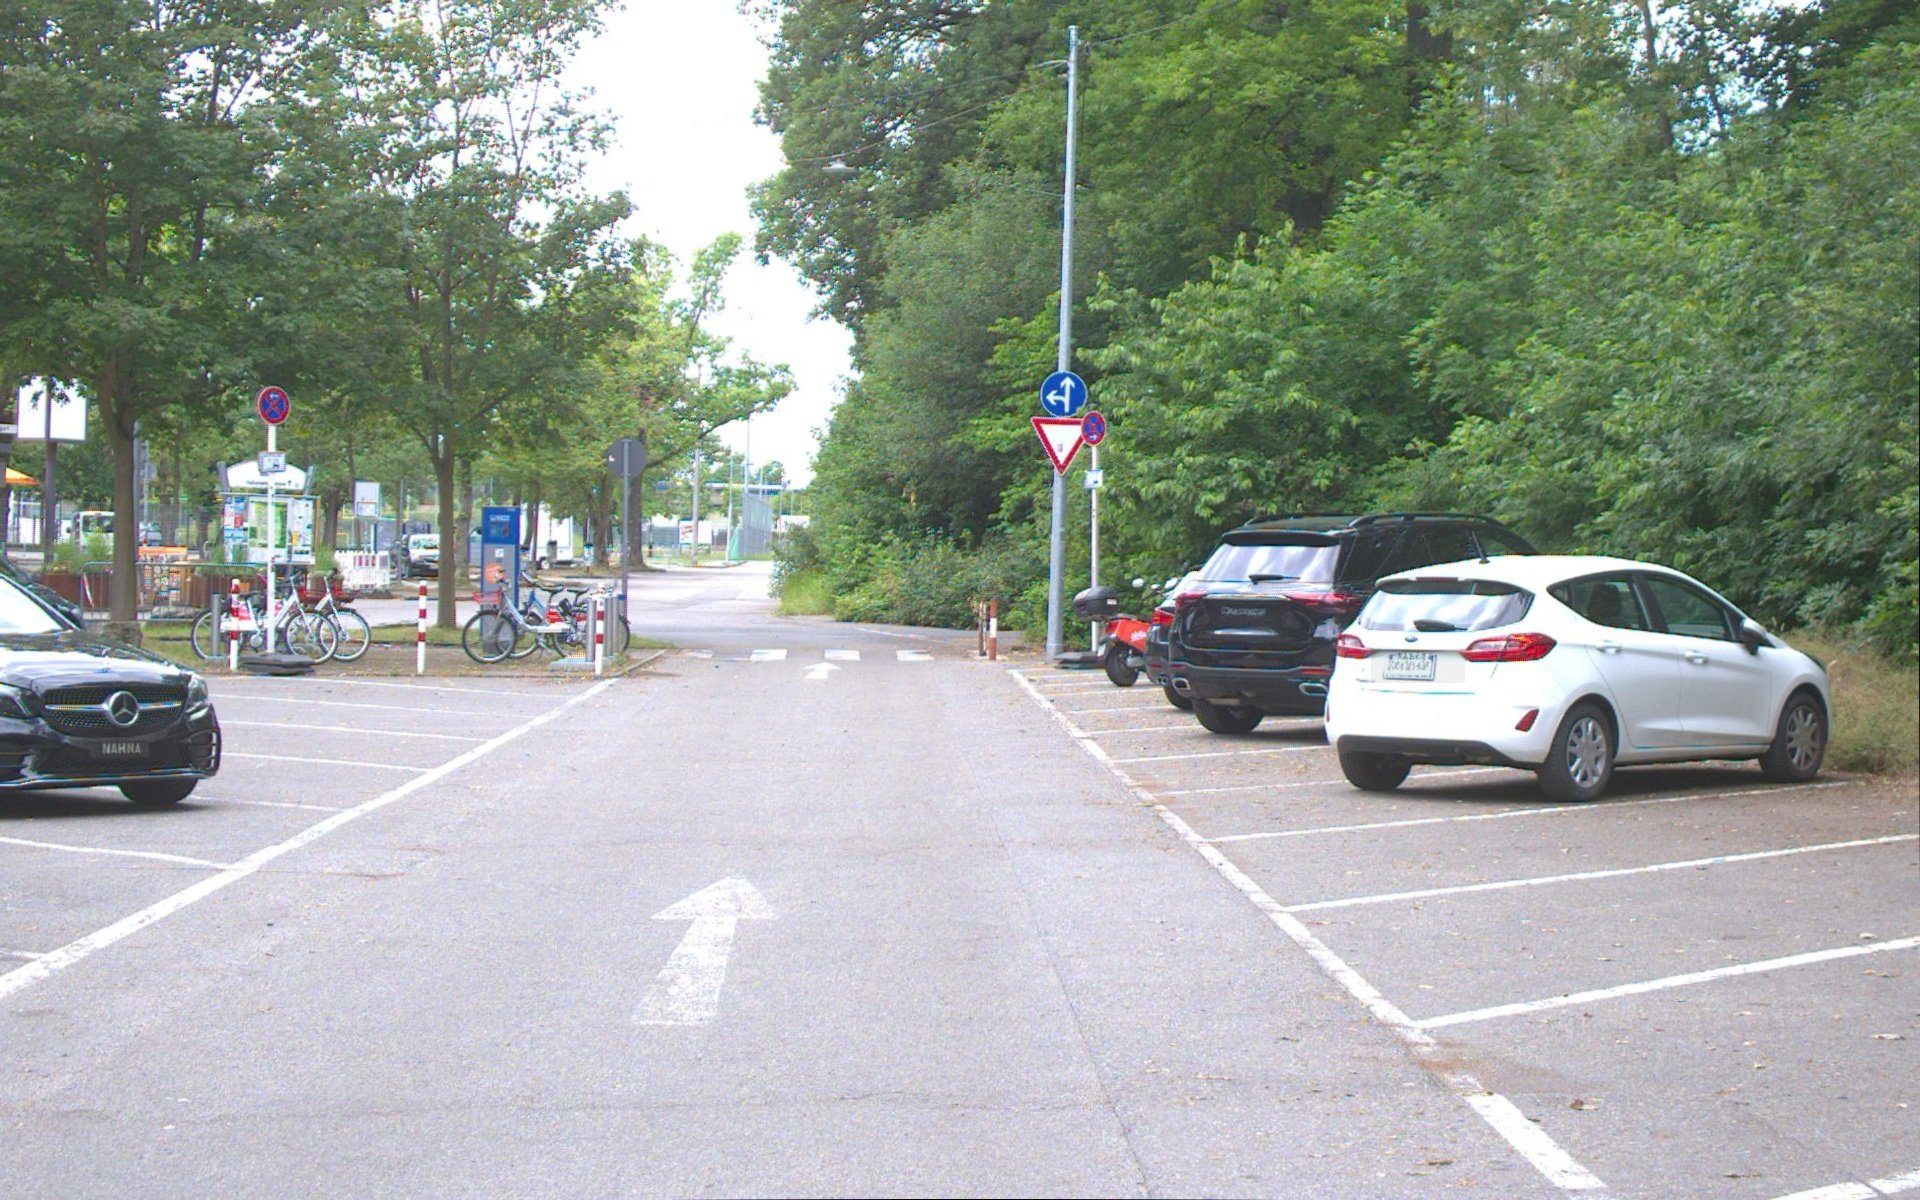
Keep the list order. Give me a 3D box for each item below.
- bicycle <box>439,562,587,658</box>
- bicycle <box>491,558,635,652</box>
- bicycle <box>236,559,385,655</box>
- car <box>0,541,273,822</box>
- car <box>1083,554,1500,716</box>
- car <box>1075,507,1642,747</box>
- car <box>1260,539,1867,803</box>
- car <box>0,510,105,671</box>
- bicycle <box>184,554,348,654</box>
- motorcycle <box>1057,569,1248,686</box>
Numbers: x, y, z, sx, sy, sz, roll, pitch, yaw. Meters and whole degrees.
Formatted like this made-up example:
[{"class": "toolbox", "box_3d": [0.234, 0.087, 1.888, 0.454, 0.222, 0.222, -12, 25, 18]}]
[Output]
[{"class": "bicycle", "box_3d": [-5.348, 0.117, 41.193, 1.680, 1.107, 0.506, 1, 1, 5]}, {"class": "bicycle", "box_3d": [-4.873, 0.055, 42.212, 1.692, 1.107, 0.482, 1, 1, 7]}, {"class": "bicycle", "box_3d": [-7.770, 0.080, 41.128, 1.679, 1.107, 0.482, 1, 1, 2]}, {"class": "car", "box_3d": [-6.099, 0.377, 19.984, 4.312, 1.437, 1.865, 2, 2, 41]}, {"class": "car", "box_3d": [3.144, 0.278, 32.090, 1.739, 1.371, 3.990, 2, 2, 44]}, {"class": "car", "box_3d": [3.306, 0.170, 27.860, 2.111, 1.761, 4.696, 2, 2, 44]}, {"class": "car", "box_3d": [3.920, 0.391, 21.945, 1.868, 1.505, 3.989, 2, 2, 44]}, {"class": "car", "box_3d": [-10.440, -0.147, 34.445, 1.826, 1.518, 4.098, -1, 2, -44]}, {"class": "bicycle", "box_3d": [-8.003, 0.042, 39.681, 1.783, 1.107, 0.482, 1, 1, 2]}, {"class": "motorcycle", "box_3d": [2.067, 0.275, 36.767, 2.023, 1.203, 0.731, 0, 2, -36]}]
